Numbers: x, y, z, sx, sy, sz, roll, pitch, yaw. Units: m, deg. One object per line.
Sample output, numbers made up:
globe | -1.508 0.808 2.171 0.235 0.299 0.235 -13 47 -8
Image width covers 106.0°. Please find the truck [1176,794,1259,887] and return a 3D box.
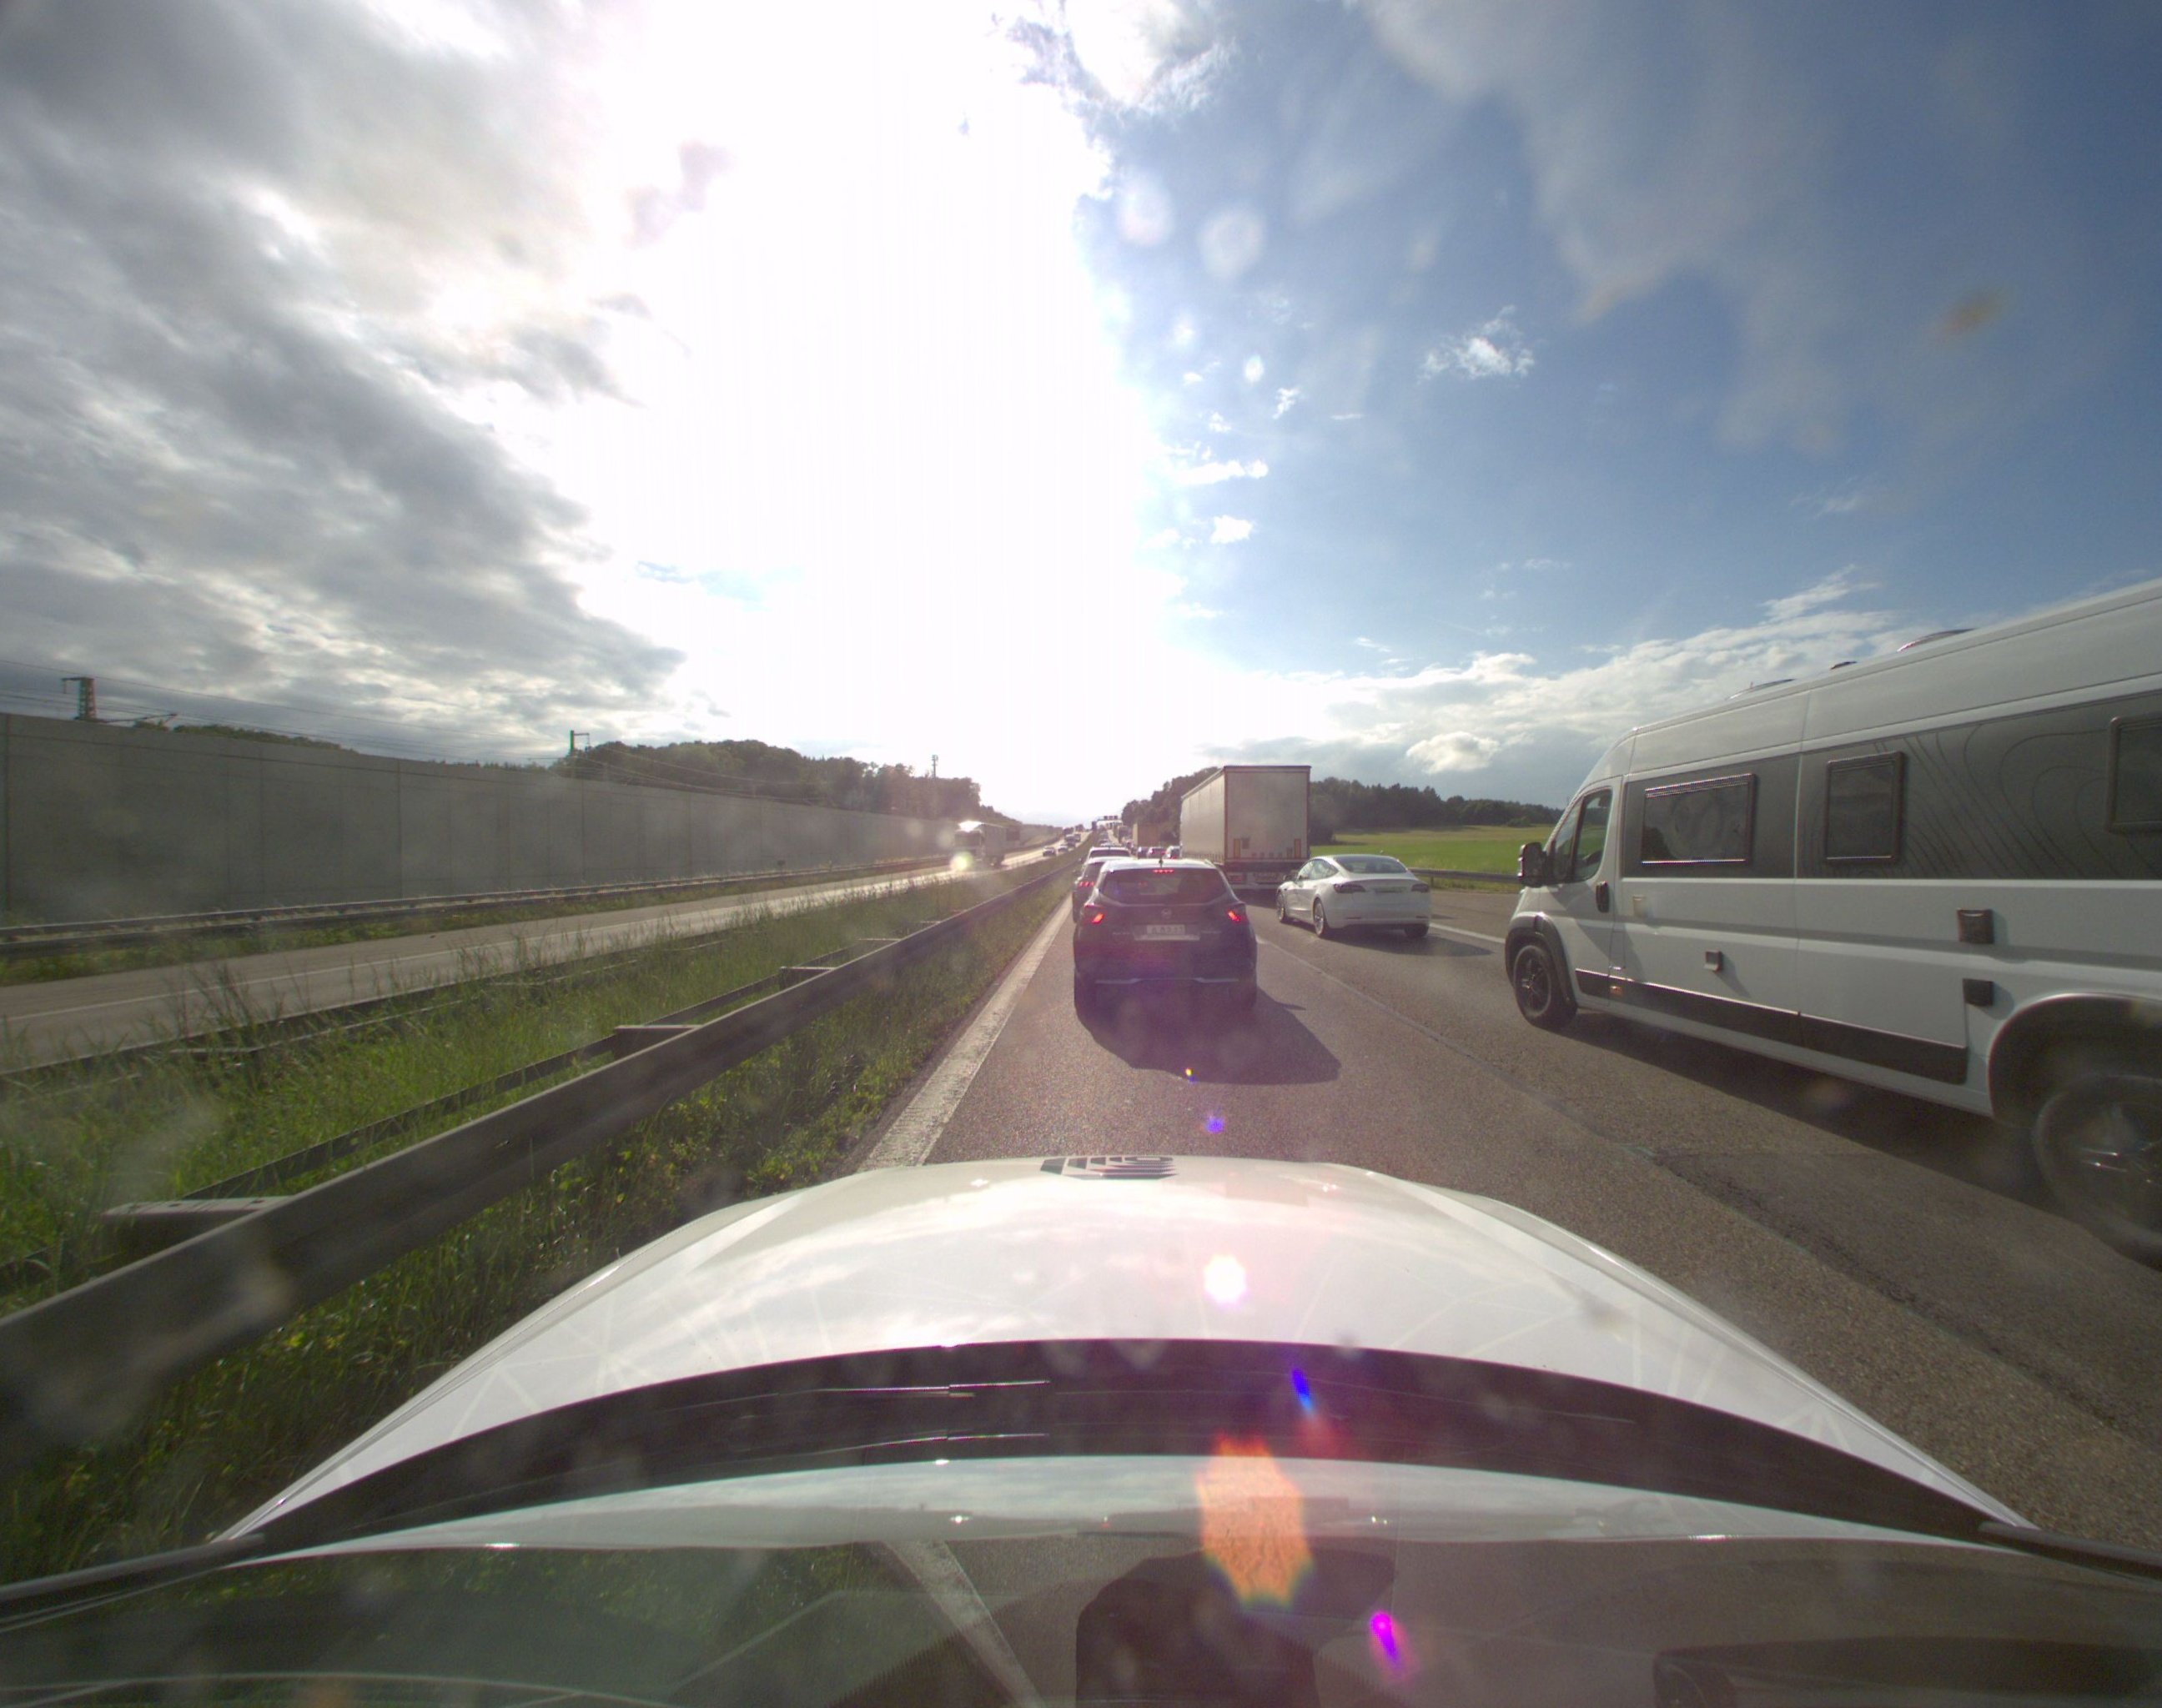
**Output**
truck | 6.231 -0.564 37.958 3.121 4.016 5.166 0 -1 2

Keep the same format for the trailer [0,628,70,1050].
trailer | -11.801 -0.117 1.373 2.674 4.038 13.795 -2 0 1

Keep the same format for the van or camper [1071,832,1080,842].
van or camper | -1.552 -4.734 226.023 2.244 2.704 7.171 -1 0 1

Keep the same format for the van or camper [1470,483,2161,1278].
van or camper | 4.813 0.079 4.734 2.207 2.681 6.335 -1 0 2

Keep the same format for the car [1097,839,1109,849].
car | 3.590 -1.636 133.088 1.867 1.644 4.233 -1 2 1

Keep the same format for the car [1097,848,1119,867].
car | 2.403 0.293 73.147 1.866 1.644 4.234 -1 1 2

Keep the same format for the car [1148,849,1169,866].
car | 7.713 0.326 81.480 1.866 1.644 4.234 -1 1 2

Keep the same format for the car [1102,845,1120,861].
car | 3.293 -0.162 90.079 1.866 1.644 4.234 -1 2 2

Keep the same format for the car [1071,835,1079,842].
car | -1.648 -4.234 220.222 1.903 1.670 4.365 -1 4 1

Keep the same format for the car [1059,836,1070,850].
car | -3.499 -2.230 172.832 2.096 2.870 5.637 -1 0 1

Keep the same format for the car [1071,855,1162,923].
car | 0.809 0.727 18.993 1.866 1.358 4.234 -1 0 2

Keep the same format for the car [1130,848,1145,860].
car | 7.996 -0.075 115.151 1.867 1.644 4.231 -1 0 0

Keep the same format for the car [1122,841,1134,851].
car | 8.462 -1.440 146.632 1.868 1.644 4.230 -1 2 -2

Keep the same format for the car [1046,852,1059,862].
car | -4.069 0.410 117.022 1.646 1.451 3.957 -1 0 1

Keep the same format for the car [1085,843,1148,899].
car | 1.154 0.523 26.925 1.866 1.644 4.234 -1 0 2

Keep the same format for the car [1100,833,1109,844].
car | 5.109 -3.344 177.069 1.866 2.158 5.214 -1 3 1

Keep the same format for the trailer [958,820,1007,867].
trailer | -9.485 -0.922 80.003 2.780 4.077 13.522 -3 0 1

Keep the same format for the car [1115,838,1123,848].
car | 9.562 -2.767 204.002 1.866 2.158 5.214 -1 3 1

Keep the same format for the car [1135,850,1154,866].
car | 7.081 0.412 90.784 1.866 1.644 4.234 -1 0 2

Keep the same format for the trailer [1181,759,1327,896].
trailer | 5.902 -0.680 30.597 3.118 4.011 13.372 0 -1 2

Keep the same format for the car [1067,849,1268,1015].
car | 0.847 0.706 9.441 1.766 1.451 4.234 -1 0 2

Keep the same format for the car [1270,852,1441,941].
car | 4.957 0.690 15.415 1.782 1.394 4.437 -1 0 1

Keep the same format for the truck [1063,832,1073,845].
truck | -4.012 -4.721 250.596 2.573 3.923 5.724 -2 0 1

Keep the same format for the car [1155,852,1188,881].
car | 5.297 0.710 48.069 1.691 1.610 4.440 -1 0 3

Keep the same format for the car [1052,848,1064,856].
car | -4.016 -0.313 144.807 1.866 1.451 4.234 -1 0 2

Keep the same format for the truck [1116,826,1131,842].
truck | 11.915 -5.602 229.352 3.453 4.576 12.442 0 1 0

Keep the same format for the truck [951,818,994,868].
truck | -9.637 -0.947 72.687 2.766 4.088 5.533 -3 0 1

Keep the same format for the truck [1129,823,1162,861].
truck | 8.092 -1.433 104.247 3.286 4.577 12.439 0 -1 0
